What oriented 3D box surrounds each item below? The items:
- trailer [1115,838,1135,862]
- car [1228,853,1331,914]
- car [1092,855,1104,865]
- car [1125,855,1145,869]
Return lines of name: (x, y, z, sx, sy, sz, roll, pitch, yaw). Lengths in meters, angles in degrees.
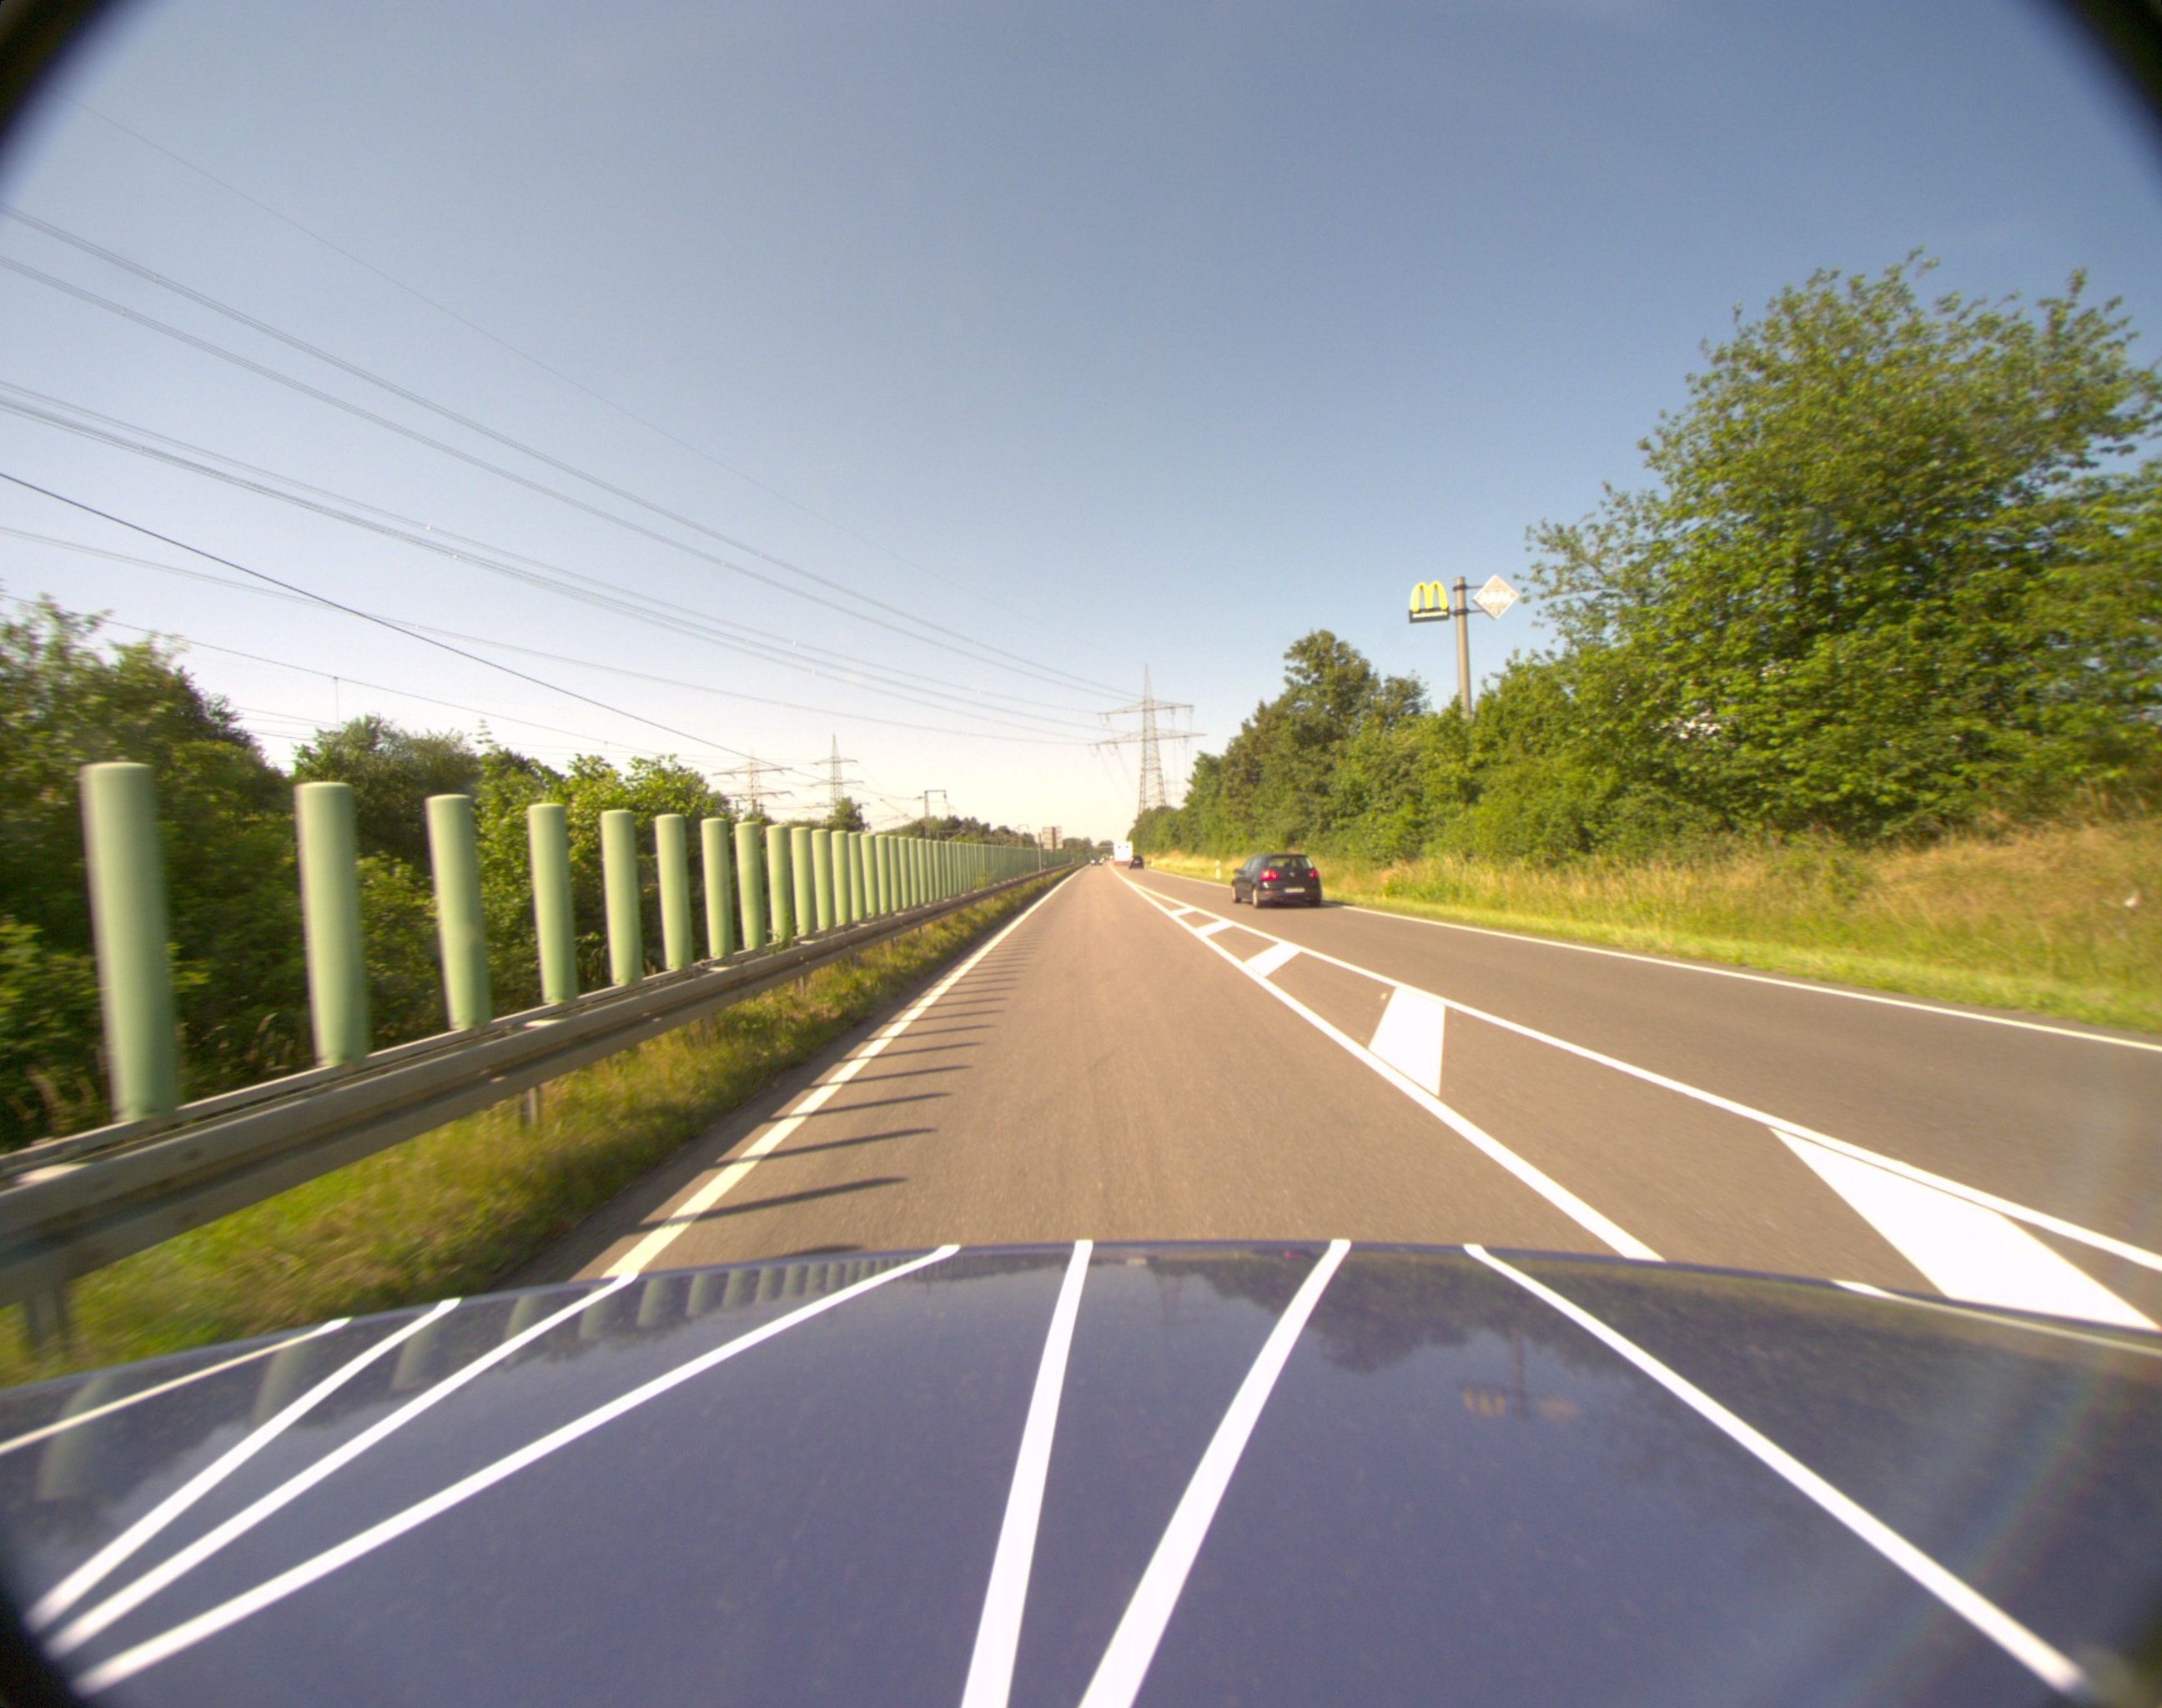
trailer: (6.934, -0.633, 120.436, 2.566, 3.574, 8.292, -2, 0, 1)
car: (5.440, 0.751, 21.377, 1.754, 1.473, 3.999, -2, 0, -1)
car: (2.746, 0.965, 122.498, 1.787, 1.550, 4.001, -1, 0, 2)
car: (6.022, 0.849, 85.038, 1.861, 1.550, 4.000, -1, 0, 0)
